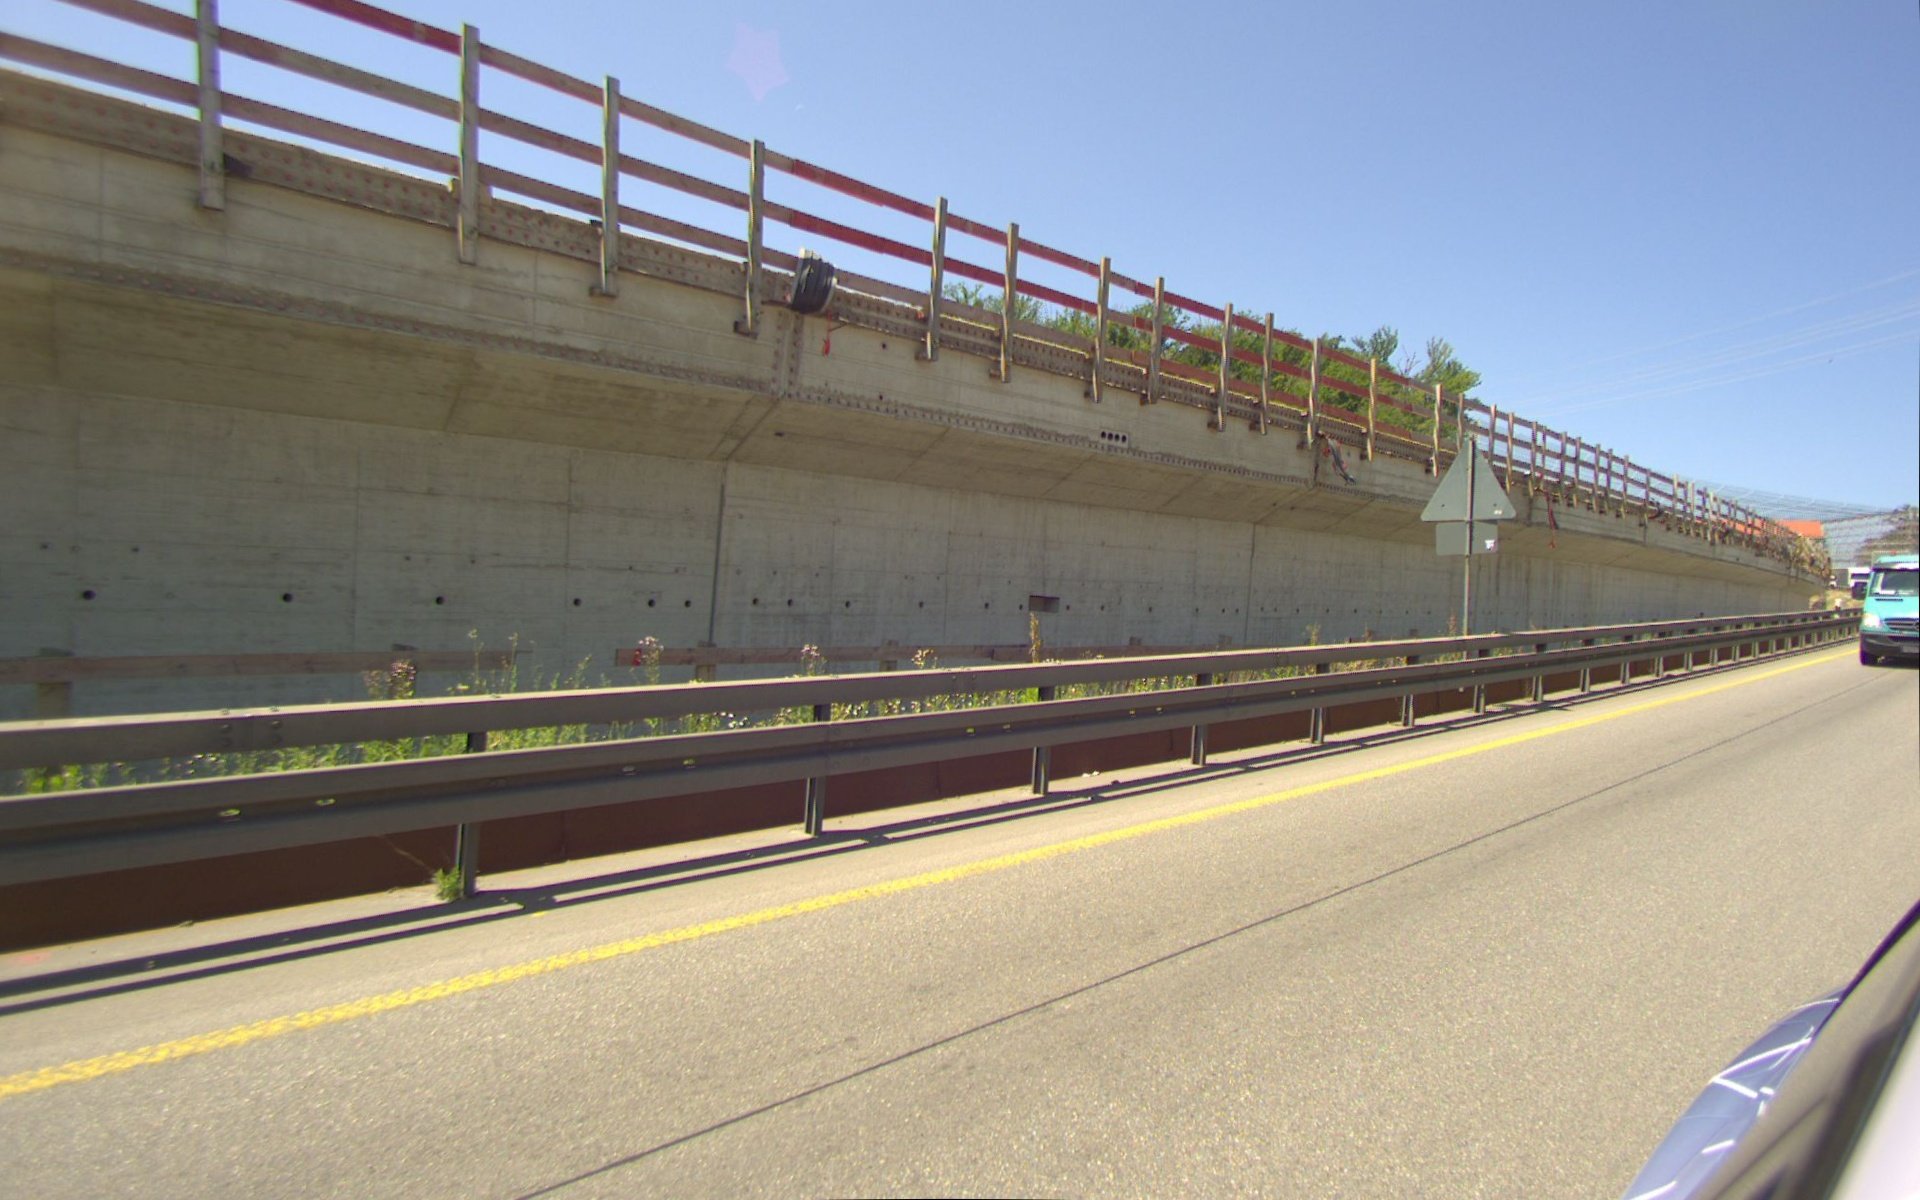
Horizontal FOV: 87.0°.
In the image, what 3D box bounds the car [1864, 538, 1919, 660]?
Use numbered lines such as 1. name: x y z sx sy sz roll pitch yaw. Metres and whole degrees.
1. car: 21.143 -0.069 21.712 6.790 2.354 2.213 -1 2 -45
